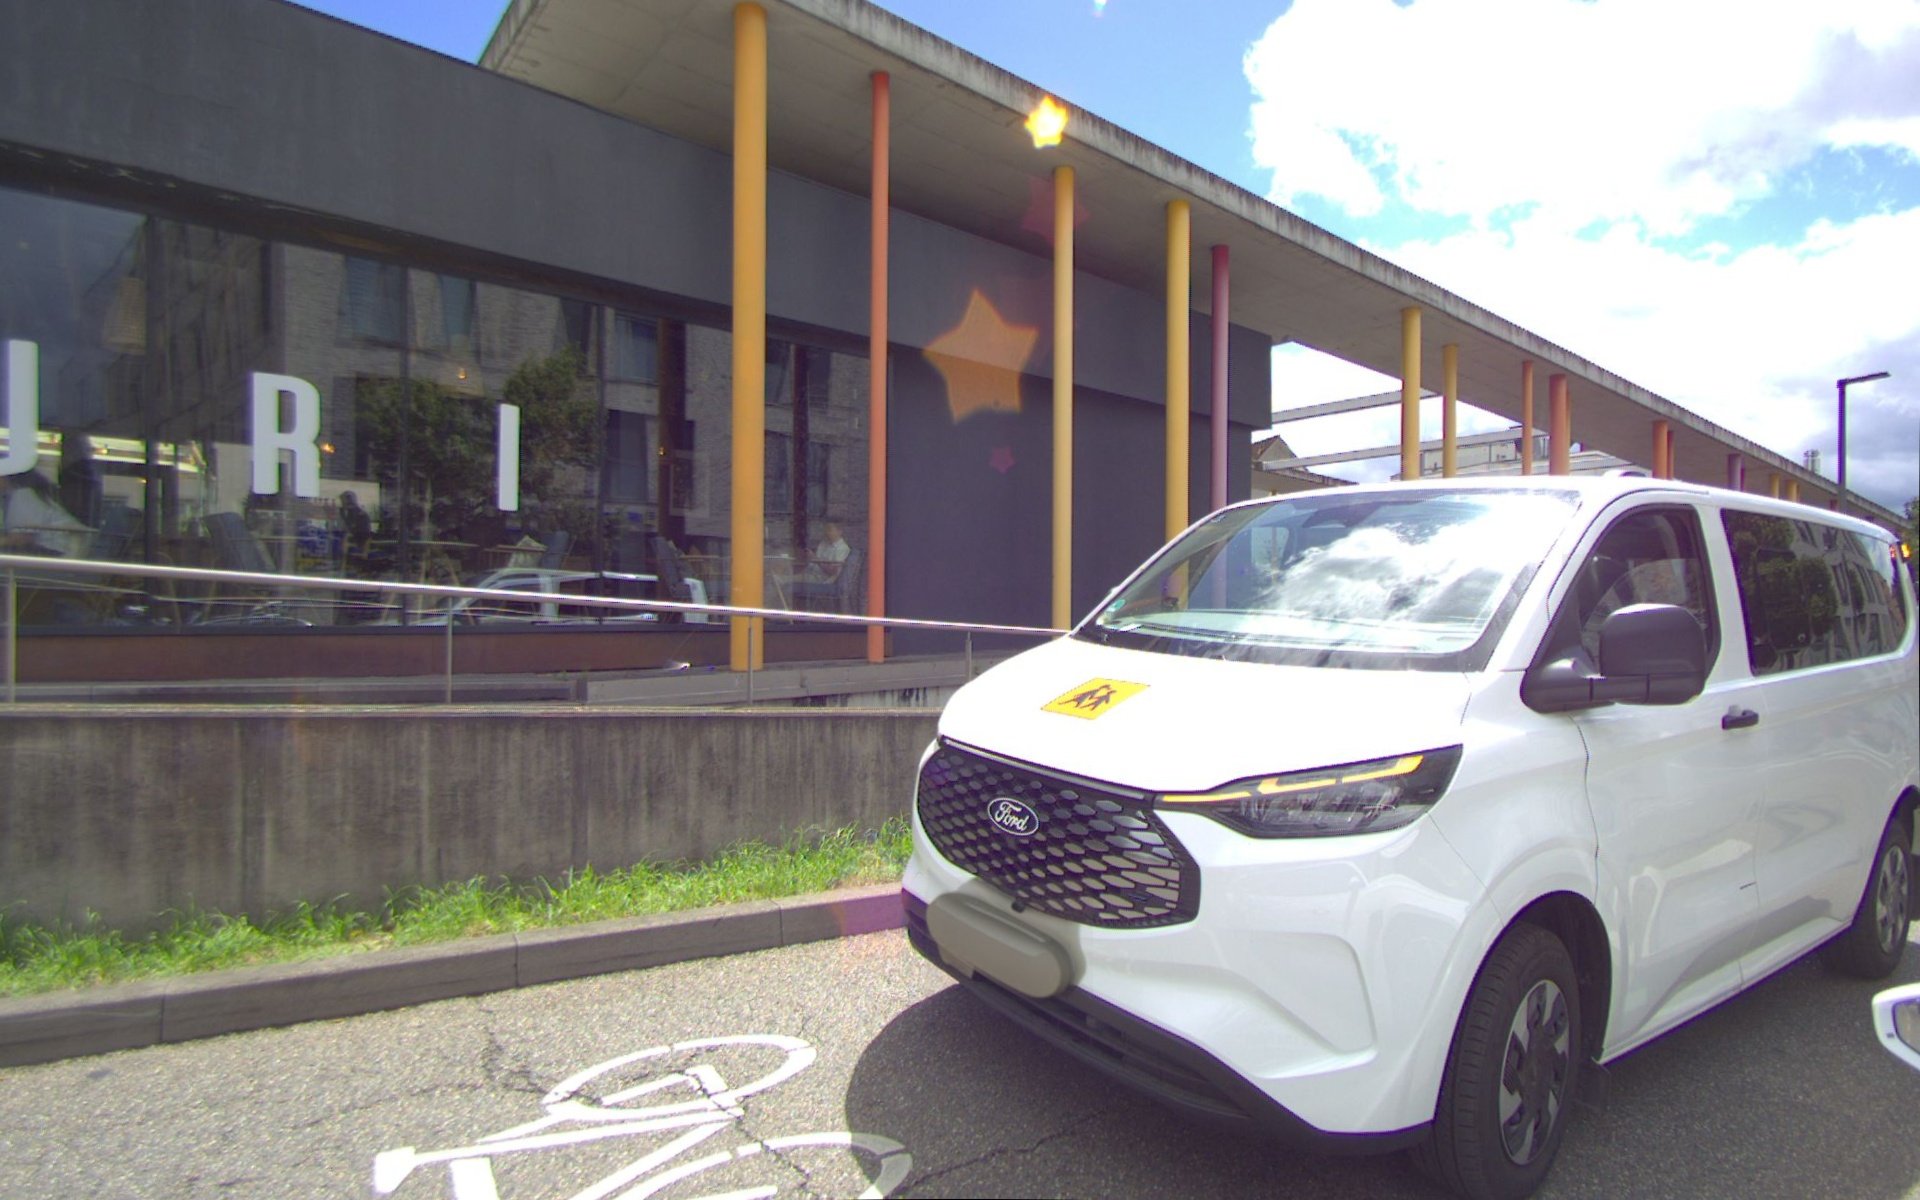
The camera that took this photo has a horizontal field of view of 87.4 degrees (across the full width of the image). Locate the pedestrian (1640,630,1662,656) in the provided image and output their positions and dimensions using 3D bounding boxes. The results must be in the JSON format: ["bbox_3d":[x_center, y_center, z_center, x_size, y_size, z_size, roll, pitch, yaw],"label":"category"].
[{"bbox_3d":[38.839,2.401,56.470,0.696,1.398,0.816,-1,2,-39],"label":"pedestrian"}]

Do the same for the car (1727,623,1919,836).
[{"bbox_3d":[8.381,0.984,8.659,4.195,1.483,1.759,1,0,-37],"label":"car"}]

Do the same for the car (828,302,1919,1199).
[{"bbox_3d":[2.318,0.522,4.158,5.339,2.040,1.981,2,1,-34],"label":"car"}]
